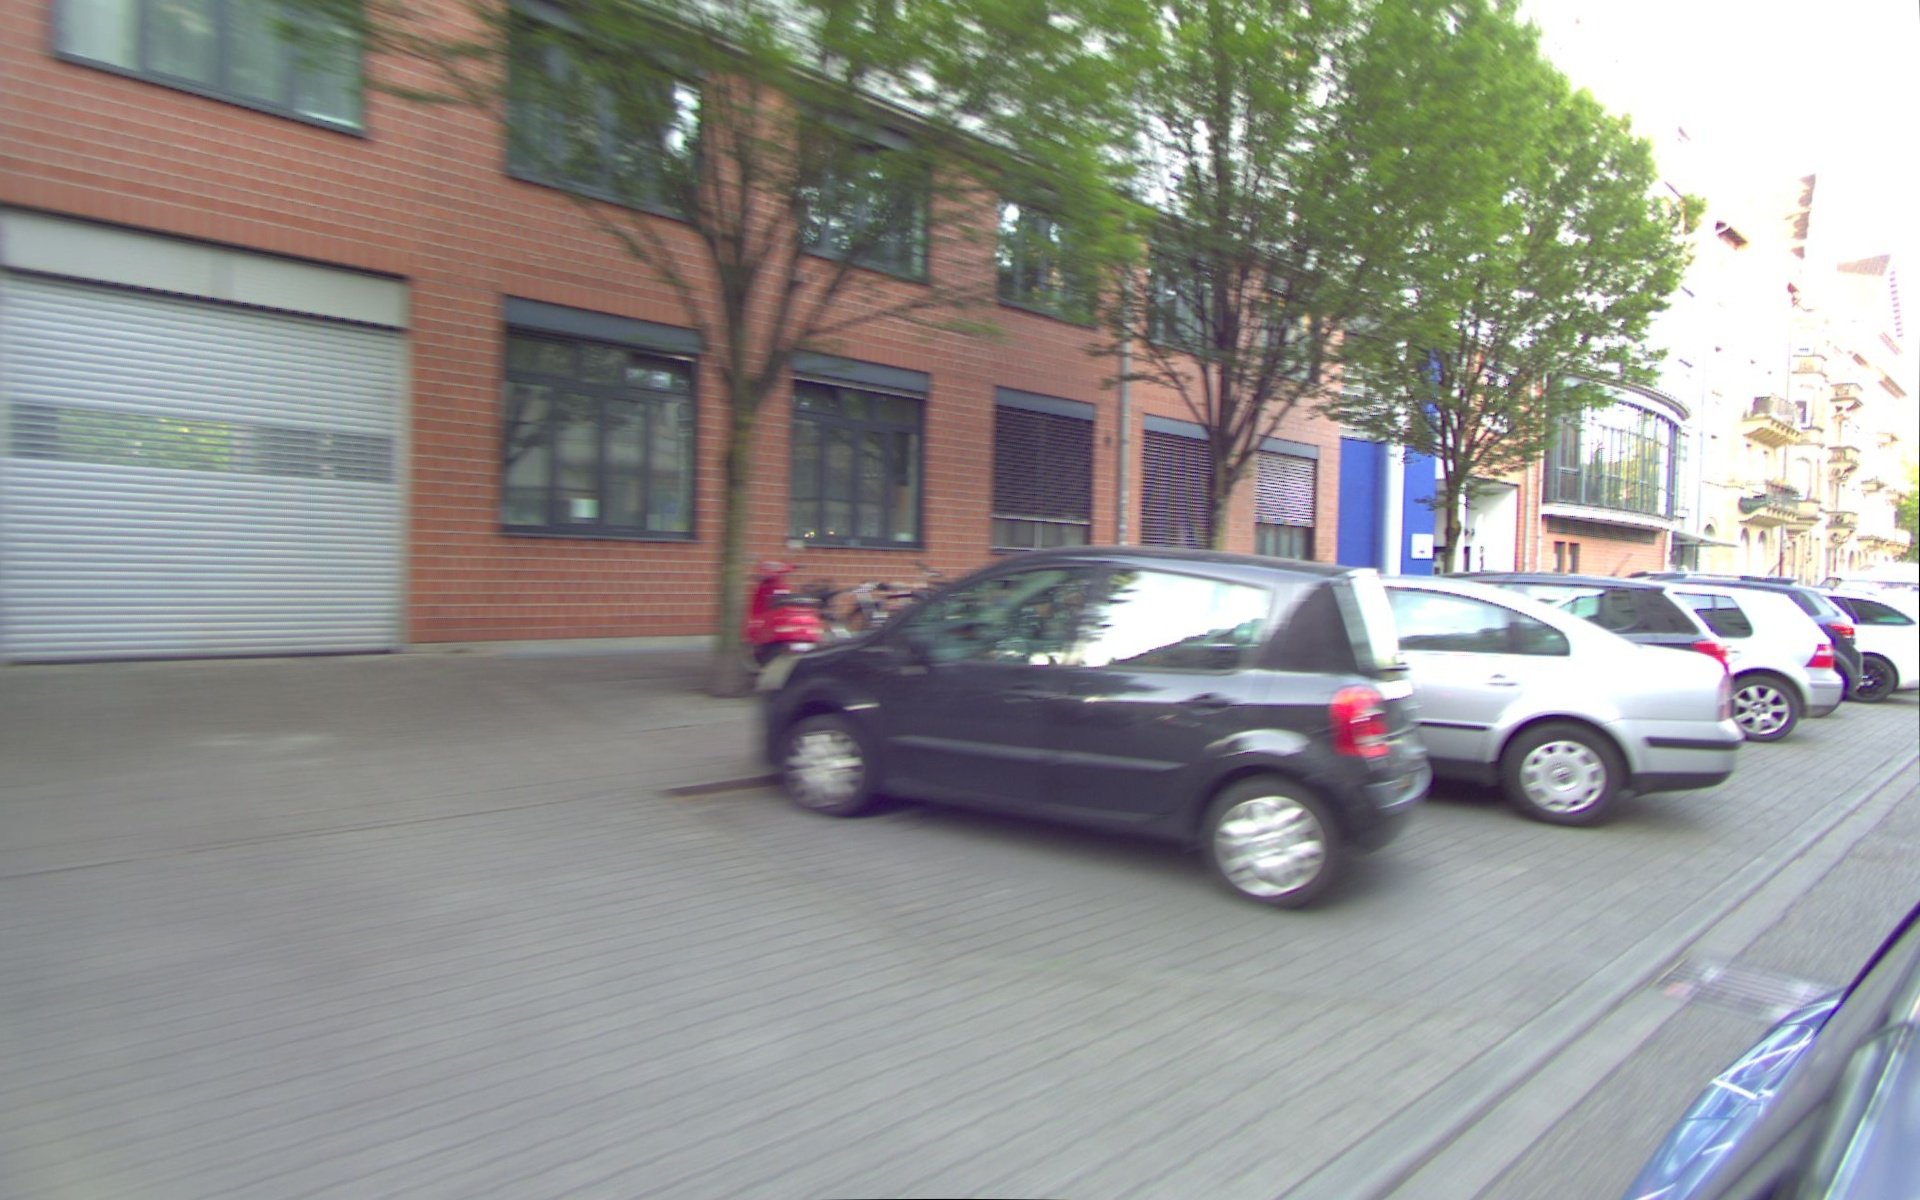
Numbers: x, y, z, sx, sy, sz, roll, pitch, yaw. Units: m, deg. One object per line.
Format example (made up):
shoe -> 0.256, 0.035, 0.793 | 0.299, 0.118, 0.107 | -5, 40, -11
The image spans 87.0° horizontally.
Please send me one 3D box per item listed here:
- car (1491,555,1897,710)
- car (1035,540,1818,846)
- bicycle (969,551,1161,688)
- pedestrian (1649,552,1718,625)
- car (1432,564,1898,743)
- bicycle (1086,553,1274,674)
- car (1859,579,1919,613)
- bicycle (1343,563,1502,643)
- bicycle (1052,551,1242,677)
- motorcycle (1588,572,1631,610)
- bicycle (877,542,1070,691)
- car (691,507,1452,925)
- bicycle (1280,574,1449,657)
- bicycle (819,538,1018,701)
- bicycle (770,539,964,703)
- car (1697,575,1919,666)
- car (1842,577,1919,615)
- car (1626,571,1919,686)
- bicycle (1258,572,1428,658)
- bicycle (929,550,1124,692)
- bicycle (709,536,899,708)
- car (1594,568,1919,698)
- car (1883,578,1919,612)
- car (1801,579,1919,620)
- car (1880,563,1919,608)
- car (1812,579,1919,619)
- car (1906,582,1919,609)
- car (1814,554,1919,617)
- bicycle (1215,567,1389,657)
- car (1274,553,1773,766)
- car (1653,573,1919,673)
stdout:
car -> 8.646, 0.305, 12.305 | 3.557, 1.600, 1.707 | 2, 2, 17
car -> 2.875, 0.408, 7.049 | 4.343, 1.553, 1.791 | 2, 2, 26
bicycle -> 1.123, 0.150, 11.581 | 0.588, 1.396, 2.542 | 0, 2, -37
pedestrian -> 20.735, -0.328, 29.017 | 0.842, 2.023, 0.613 | -1, 27, -39
car -> 6.892, 0.423, 10.389 | 3.565, 1.500, 1.710 | 2, 2, 23
bicycle -> 2.734, 0.104, 12.935 | 0.588, 1.396, 2.542 | 0, 2, -37
car -> 47.814, -0.145, 50.466 | 4.000, 1.516, 1.747 | 4, 4, 15
bicycle -> 7.788, 0.018, 17.176 | 0.667, 1.112, 2.355 | 0, 5, -37
bicycle -> 2.218, 0.111, 12.457 | 0.588, 1.396, 2.542 | 0, 2, -37
motorcycle -> 20.108, -0.284, 31.322 | 2.049, 1.116, 0.589 | -1, 5, -44
bicycle -> 0.063, 0.104, 10.703 | 0.588, 1.396, 2.542 | 0, 2, -37
car -> 0.529, 0.359, 5.818 | 3.968, 1.656, 1.740 | 3, 3, 31
bicycle -> 6.339, 0.200, 16.030 | 0.551, 1.181, 2.542 | 0, 2, -37
bicycle -> -0.507, 0.113, 10.212 | 0.588, 1.259, 2.545 | 0, 7, -37
bicycle -> -0.980, 0.128, 9.773 | 0.588, 1.396, 2.542 | 0, 2, -37
car -> 16.553, 0.348, 19.037 | 3.952, 1.525, 1.758 | 2, 2, 21
car -> 42.206, -0.127, 44.731 | 4.345, 1.504, 1.832 | 4, 3, 20
car -> 12.944, 0.381, 15.736 | 3.950, 1.541, 1.700 | 2, 3, 20
bicycle -> 5.861, 0.192, 15.668 | 0.551, 1.181, 2.542 | 0, 2, -37
bicycle -> 0.649, 0.154, 11.085 | 0.588, 1.396, 2.542 | 0, 2, -37
bicycle -> -1.526, 0.126, 9.372 | 0.588, 1.396, 2.542 | 0, 2, -37
car -> 11.234, 0.399, 13.909 | 3.950, 1.556, 1.626 | 2, 1, 20
car -> 50.466, -0.181, 51.992 | 4.037, 1.626, 1.811 | 3, 3, 12
car -> 36.056, -0.036, 39.915 | 4.018, 1.510, 1.713 | 2, 2, 20
car -> 58.825, -0.783, 60.079 | 5.789, 2.581, 2.192 | 3, 4, 10
car -> 37.998, -0.042, 41.419 | 4.307, 1.521, 1.899 | 2, 2, 23
car -> 57.242, -0.139, 57.797 | 4.189, 1.470, 1.994 | 3, 3, 12
car -> 39.779, -0.630, 43.156 | 4.669, 2.578, 1.905 | 2, 2, 21
bicycle -> 4.953, 0.131, 14.882 | 0.551, 1.181, 2.542 | 0, 2, -37
car -> 4.752, 0.400, 9.056 | 3.564, 1.553, 1.551 | 2, 2, 22
car -> 14.574, 0.345, 17.379 | 3.946, 1.490, 1.866 | 2, 3, 17
